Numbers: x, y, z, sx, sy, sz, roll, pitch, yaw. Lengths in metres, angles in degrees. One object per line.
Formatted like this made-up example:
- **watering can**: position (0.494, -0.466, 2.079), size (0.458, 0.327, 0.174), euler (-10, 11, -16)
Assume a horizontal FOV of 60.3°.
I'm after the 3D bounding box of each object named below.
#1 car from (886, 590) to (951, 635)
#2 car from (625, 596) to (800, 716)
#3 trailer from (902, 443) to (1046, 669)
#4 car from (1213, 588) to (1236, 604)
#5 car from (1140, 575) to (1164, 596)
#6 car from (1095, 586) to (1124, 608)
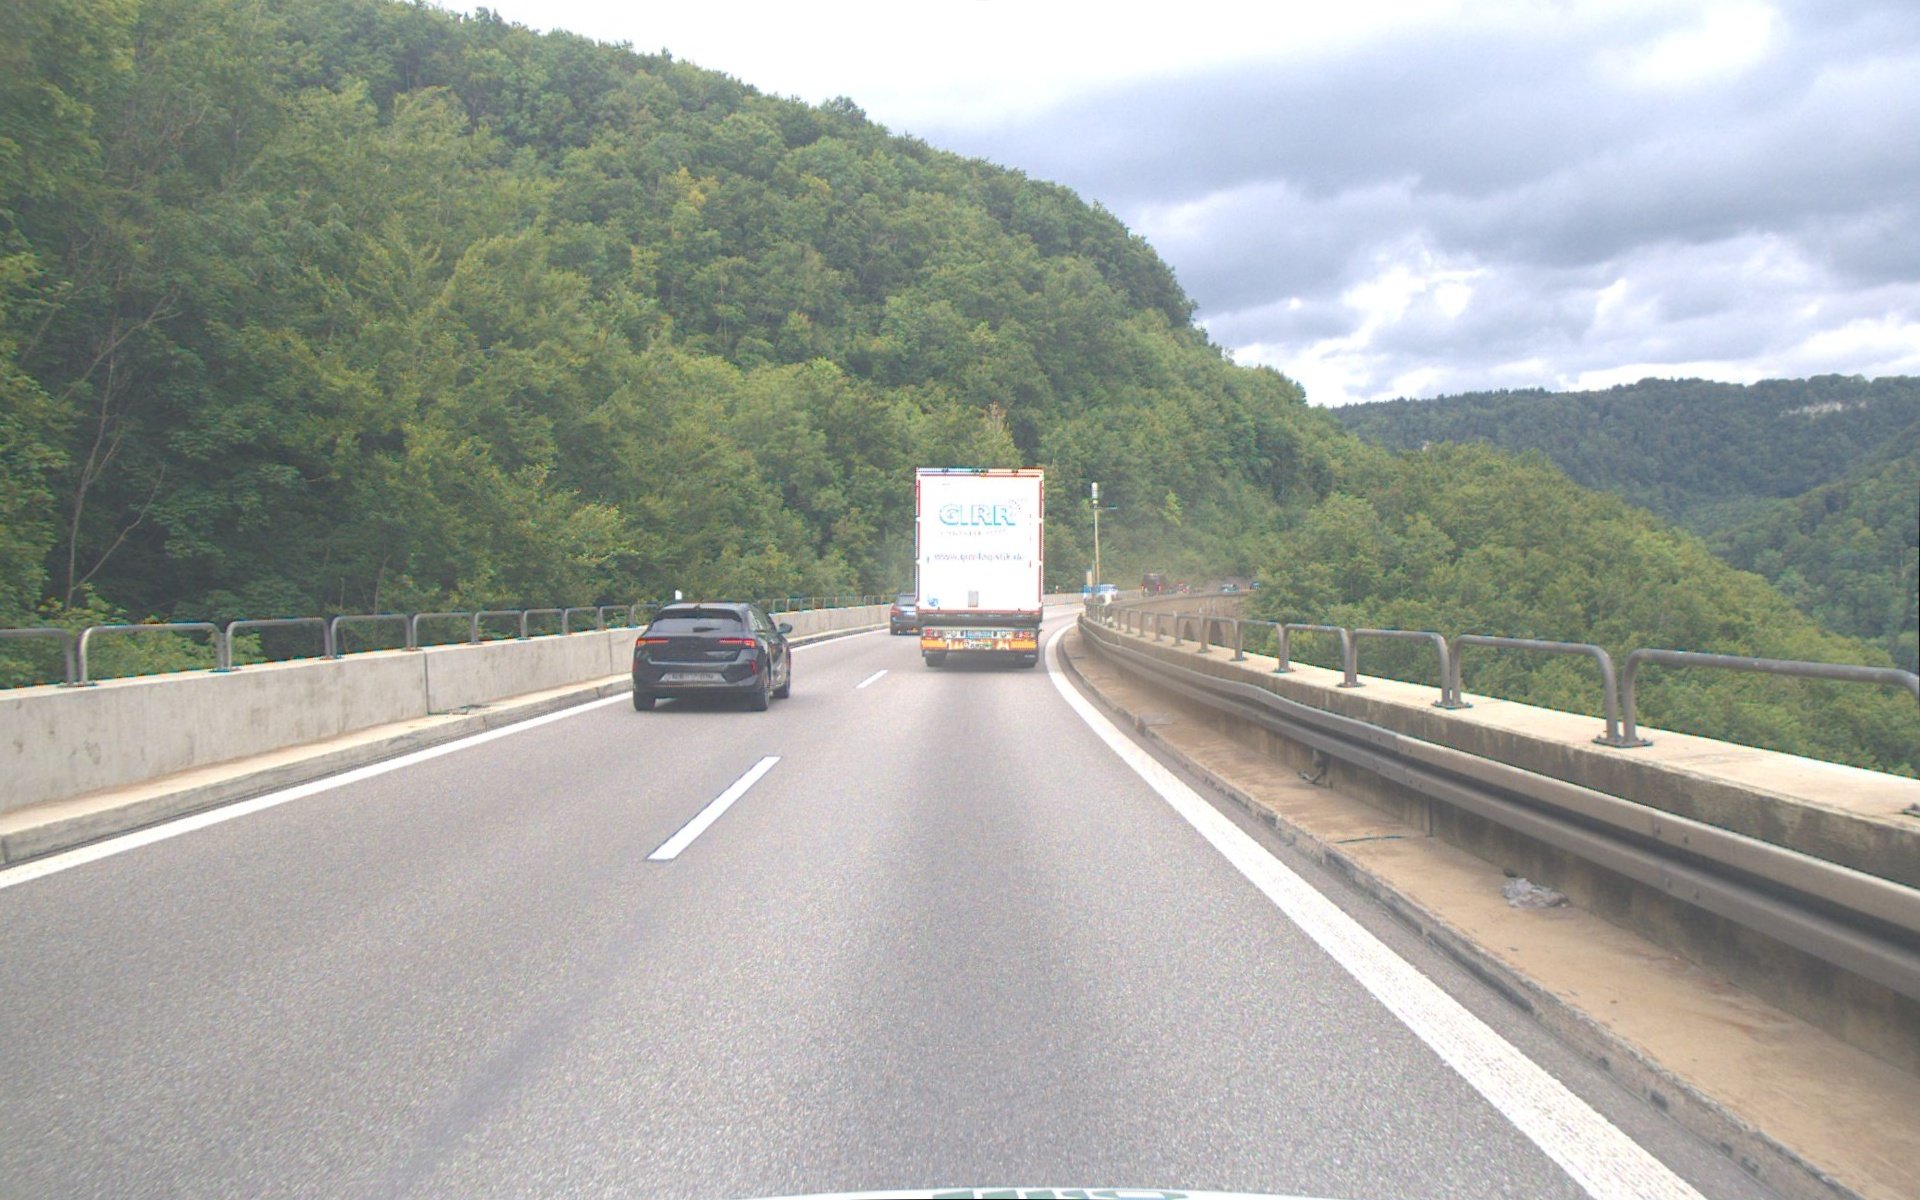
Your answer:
- **car**: position (-1.422, 0.444, 58.950), size (1.844, 1.536, 4.421), euler (-1, 0, 5)
- **car**: position (-3.319, 0.698, 22.978), size (1.737, 1.486, 4.581), euler (0, 0, 0)
- **trailer**: position (0.549, -0.819, 38.310), size (2.754, 4.378, 12.248), euler (-1, 0, 3)
- **car**: position (30.839, -0.481, 192.826), size (1.952, 1.825, 4.001), euler (0, -1, 18)
- **car**: position (19.682, -1.482, 169.213), size (1.951, 2.049, 4.003), euler (0, -1, 14)
- **car**: position (13.158, -0.251, 145.495), size (1.951, 1.825, 4.003), euler (0, -1, 14)
